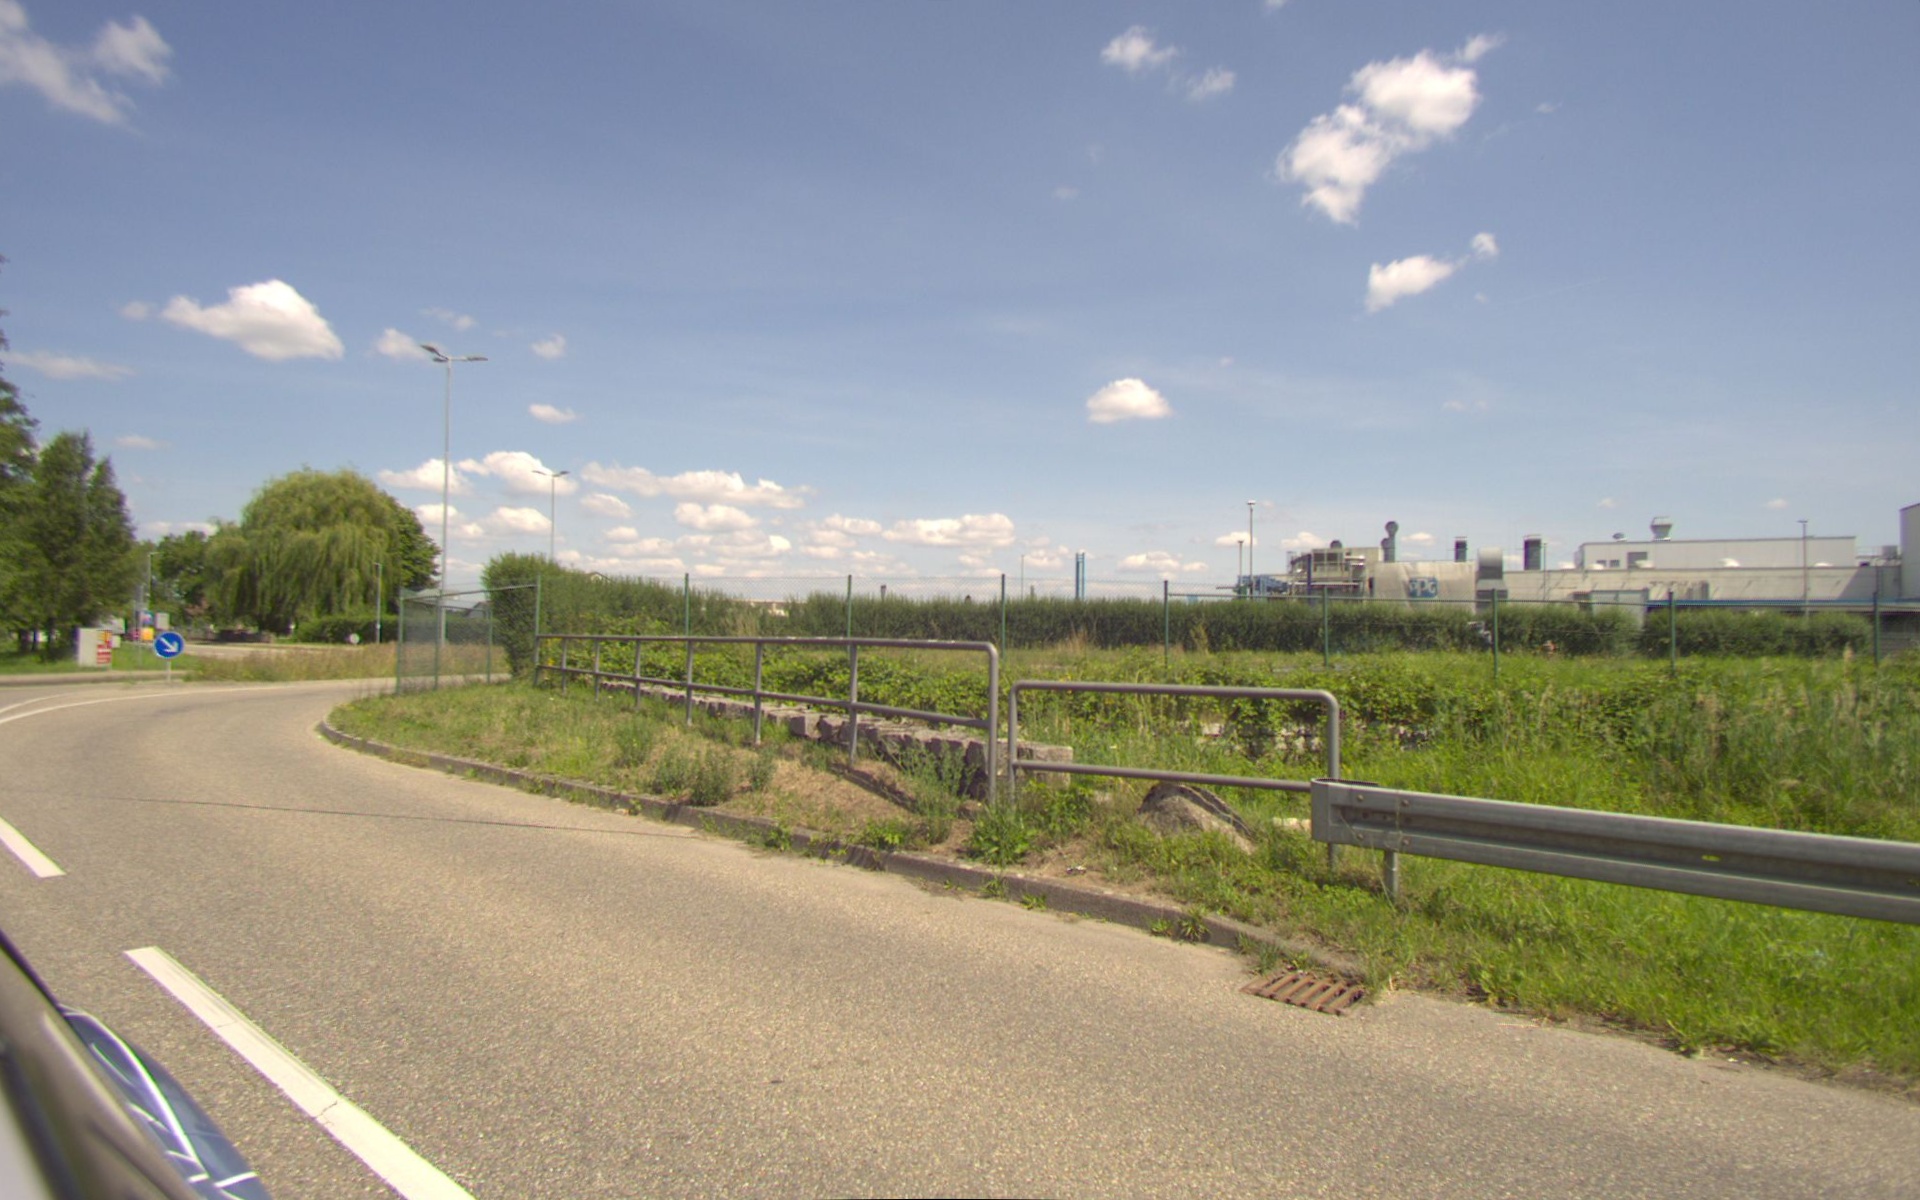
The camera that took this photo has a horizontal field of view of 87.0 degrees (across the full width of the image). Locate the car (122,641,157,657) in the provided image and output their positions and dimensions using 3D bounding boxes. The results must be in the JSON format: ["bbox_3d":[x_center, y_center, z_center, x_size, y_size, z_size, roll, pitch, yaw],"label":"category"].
[{"bbox_3d":[-79.903,4.760,98.506,4.384,1.475,1.860,-2,-4,41],"label":"car"}]
